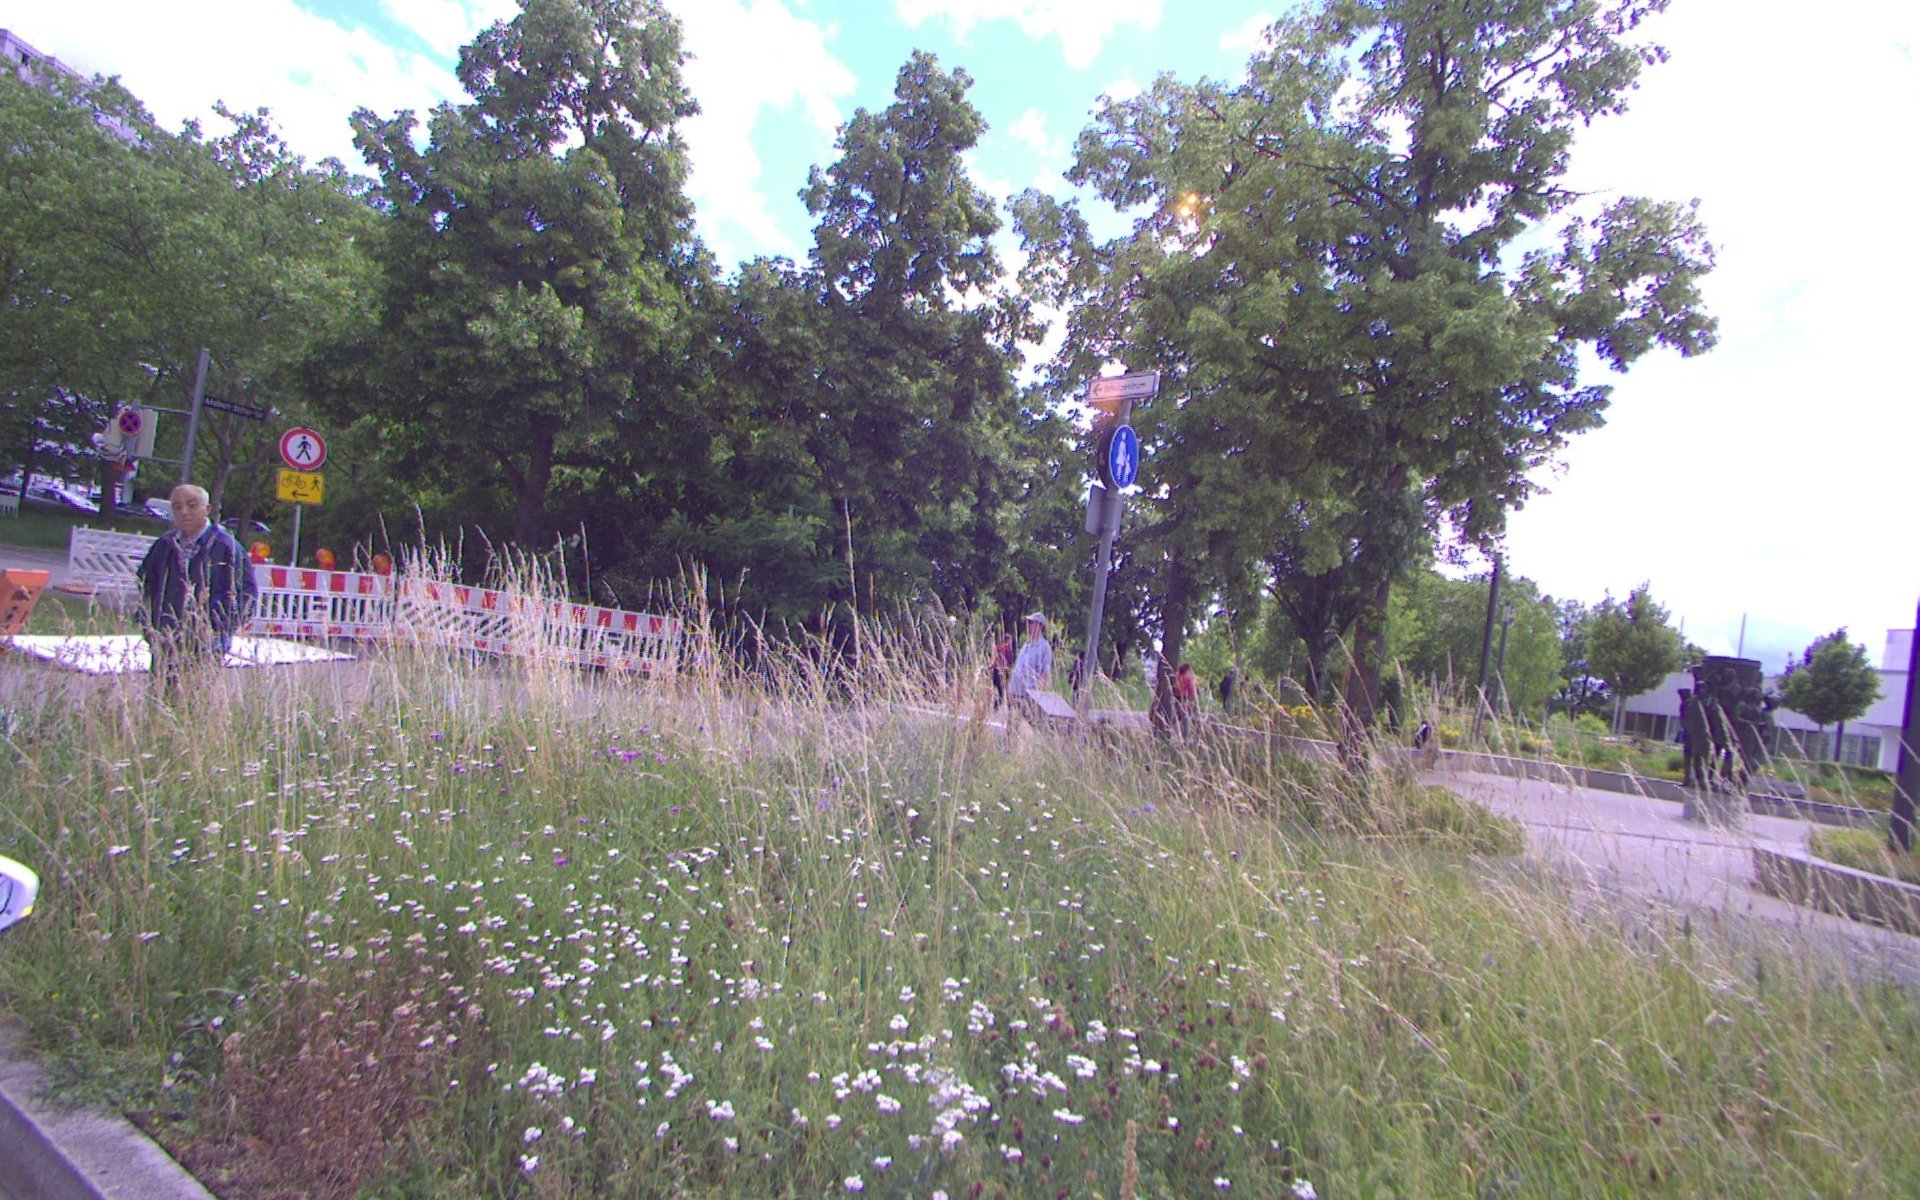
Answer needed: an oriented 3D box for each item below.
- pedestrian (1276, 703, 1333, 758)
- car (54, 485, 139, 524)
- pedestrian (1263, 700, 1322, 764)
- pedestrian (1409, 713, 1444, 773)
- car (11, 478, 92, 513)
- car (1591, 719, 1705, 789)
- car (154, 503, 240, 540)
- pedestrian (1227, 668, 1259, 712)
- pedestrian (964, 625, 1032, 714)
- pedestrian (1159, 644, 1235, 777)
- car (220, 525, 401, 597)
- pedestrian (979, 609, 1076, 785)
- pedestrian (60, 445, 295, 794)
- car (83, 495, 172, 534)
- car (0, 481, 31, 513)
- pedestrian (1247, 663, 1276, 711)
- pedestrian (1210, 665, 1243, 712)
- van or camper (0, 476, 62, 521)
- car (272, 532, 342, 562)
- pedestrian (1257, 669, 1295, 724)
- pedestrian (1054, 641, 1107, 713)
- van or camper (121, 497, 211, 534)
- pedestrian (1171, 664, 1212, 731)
[{"bbox_3d":[7.125,2.692,20.811,0.703,0.959,0.747,8,-1,-21],"label":"pedestrian"},{"bbox_3d":[-54.462,-5.990,63.462,3.751,1.653,1.674,9,-1,1],"label":"car"},{"bbox_3d":[5.194,2.049,15.700,0.685,0.874,0.651,7,0,28],"label":"pedestrian"},{"bbox_3d":[10.757,3.276,23.180,0.560,1.277,0.582,7,-1,29],"label":"pedestrian"},{"bbox_3d":[-54.444,-6.248,60.329,3.345,1.420,1.486,7,-2,1],"label":"car"},{"bbox_3d":[22.780,5.064,33.468,1.606,1.786,3.509,7,-2,9],"label":"car"},{"bbox_3d":[-44.638,-4.598,58.898,3.820,1.482,1.486,7,-1,1],"label":"car"},{"bbox_3d":[11.645,3.696,41.355,0.974,1.671,0.871,7,0,21],"label":"pedestrian"},{"bbox_3d":[0.794,1.431,20.772,0.974,1.671,0.871,7,0,21],"label":"pedestrian"},{"bbox_3d":[3.306,1.528,13.991,0.685,1.715,0.651,7,0,28],"label":"pedestrian"},{"bbox_3d":[-20.661,-1.212,32.194,1.744,1.604,4.405,6,-2,33],"label":"car"},{"bbox_3d":[0.734,1.048,11.149,0.682,1.812,0.727,8,0,-12],"label":"pedestrian"},{"bbox_3d":[-4.373,0.113,5.711,0.720,1.761,0.949,8,-1,-29],"label":"pedestrian"},{"bbox_3d":[-43.774,-4.495,52.940,3.345,1.420,1.486,7,-2,2],"label":"car"},{"bbox_3d":[-50.443,-5.546,51.838,1.456,1.462,3.413,7,-2,14],"label":"car"},{"bbox_3d":[14.061,4.042,46.897,1.026,2.037,1.099,8,-1,19],"label":"pedestrian"},{"bbox_3d":[10.259,3.408,38.717,0.974,1.671,0.871,7,0,21],"label":"pedestrian"},{"bbox_3d":[-44.311,-4.847,46.499,3.925,1.704,1.847,8,-1,4],"label":"van or camper"},{"bbox_3d":[-45.226,-3.659,69.700,3.674,1.517,1.736,7,-2,5],"label":"car"},{"bbox_3d":[10.503,3.197,33.419,0.974,1.671,0.871,7,0,21],"label":"pedestrian"},{"bbox_3d":[3.083,1.957,25.648,0.974,1.671,0.871,7,0,21],"label":"pedestrian"},{"bbox_3d":[-44.558,-4.733,56.492,3.706,1.372,1.519,8,-2,-1],"label":"van or camper"},{"bbox_3d":[5.629,2.363,24.466,0.624,1.519,0.704,7,0,29],"label":"pedestrian"}]
